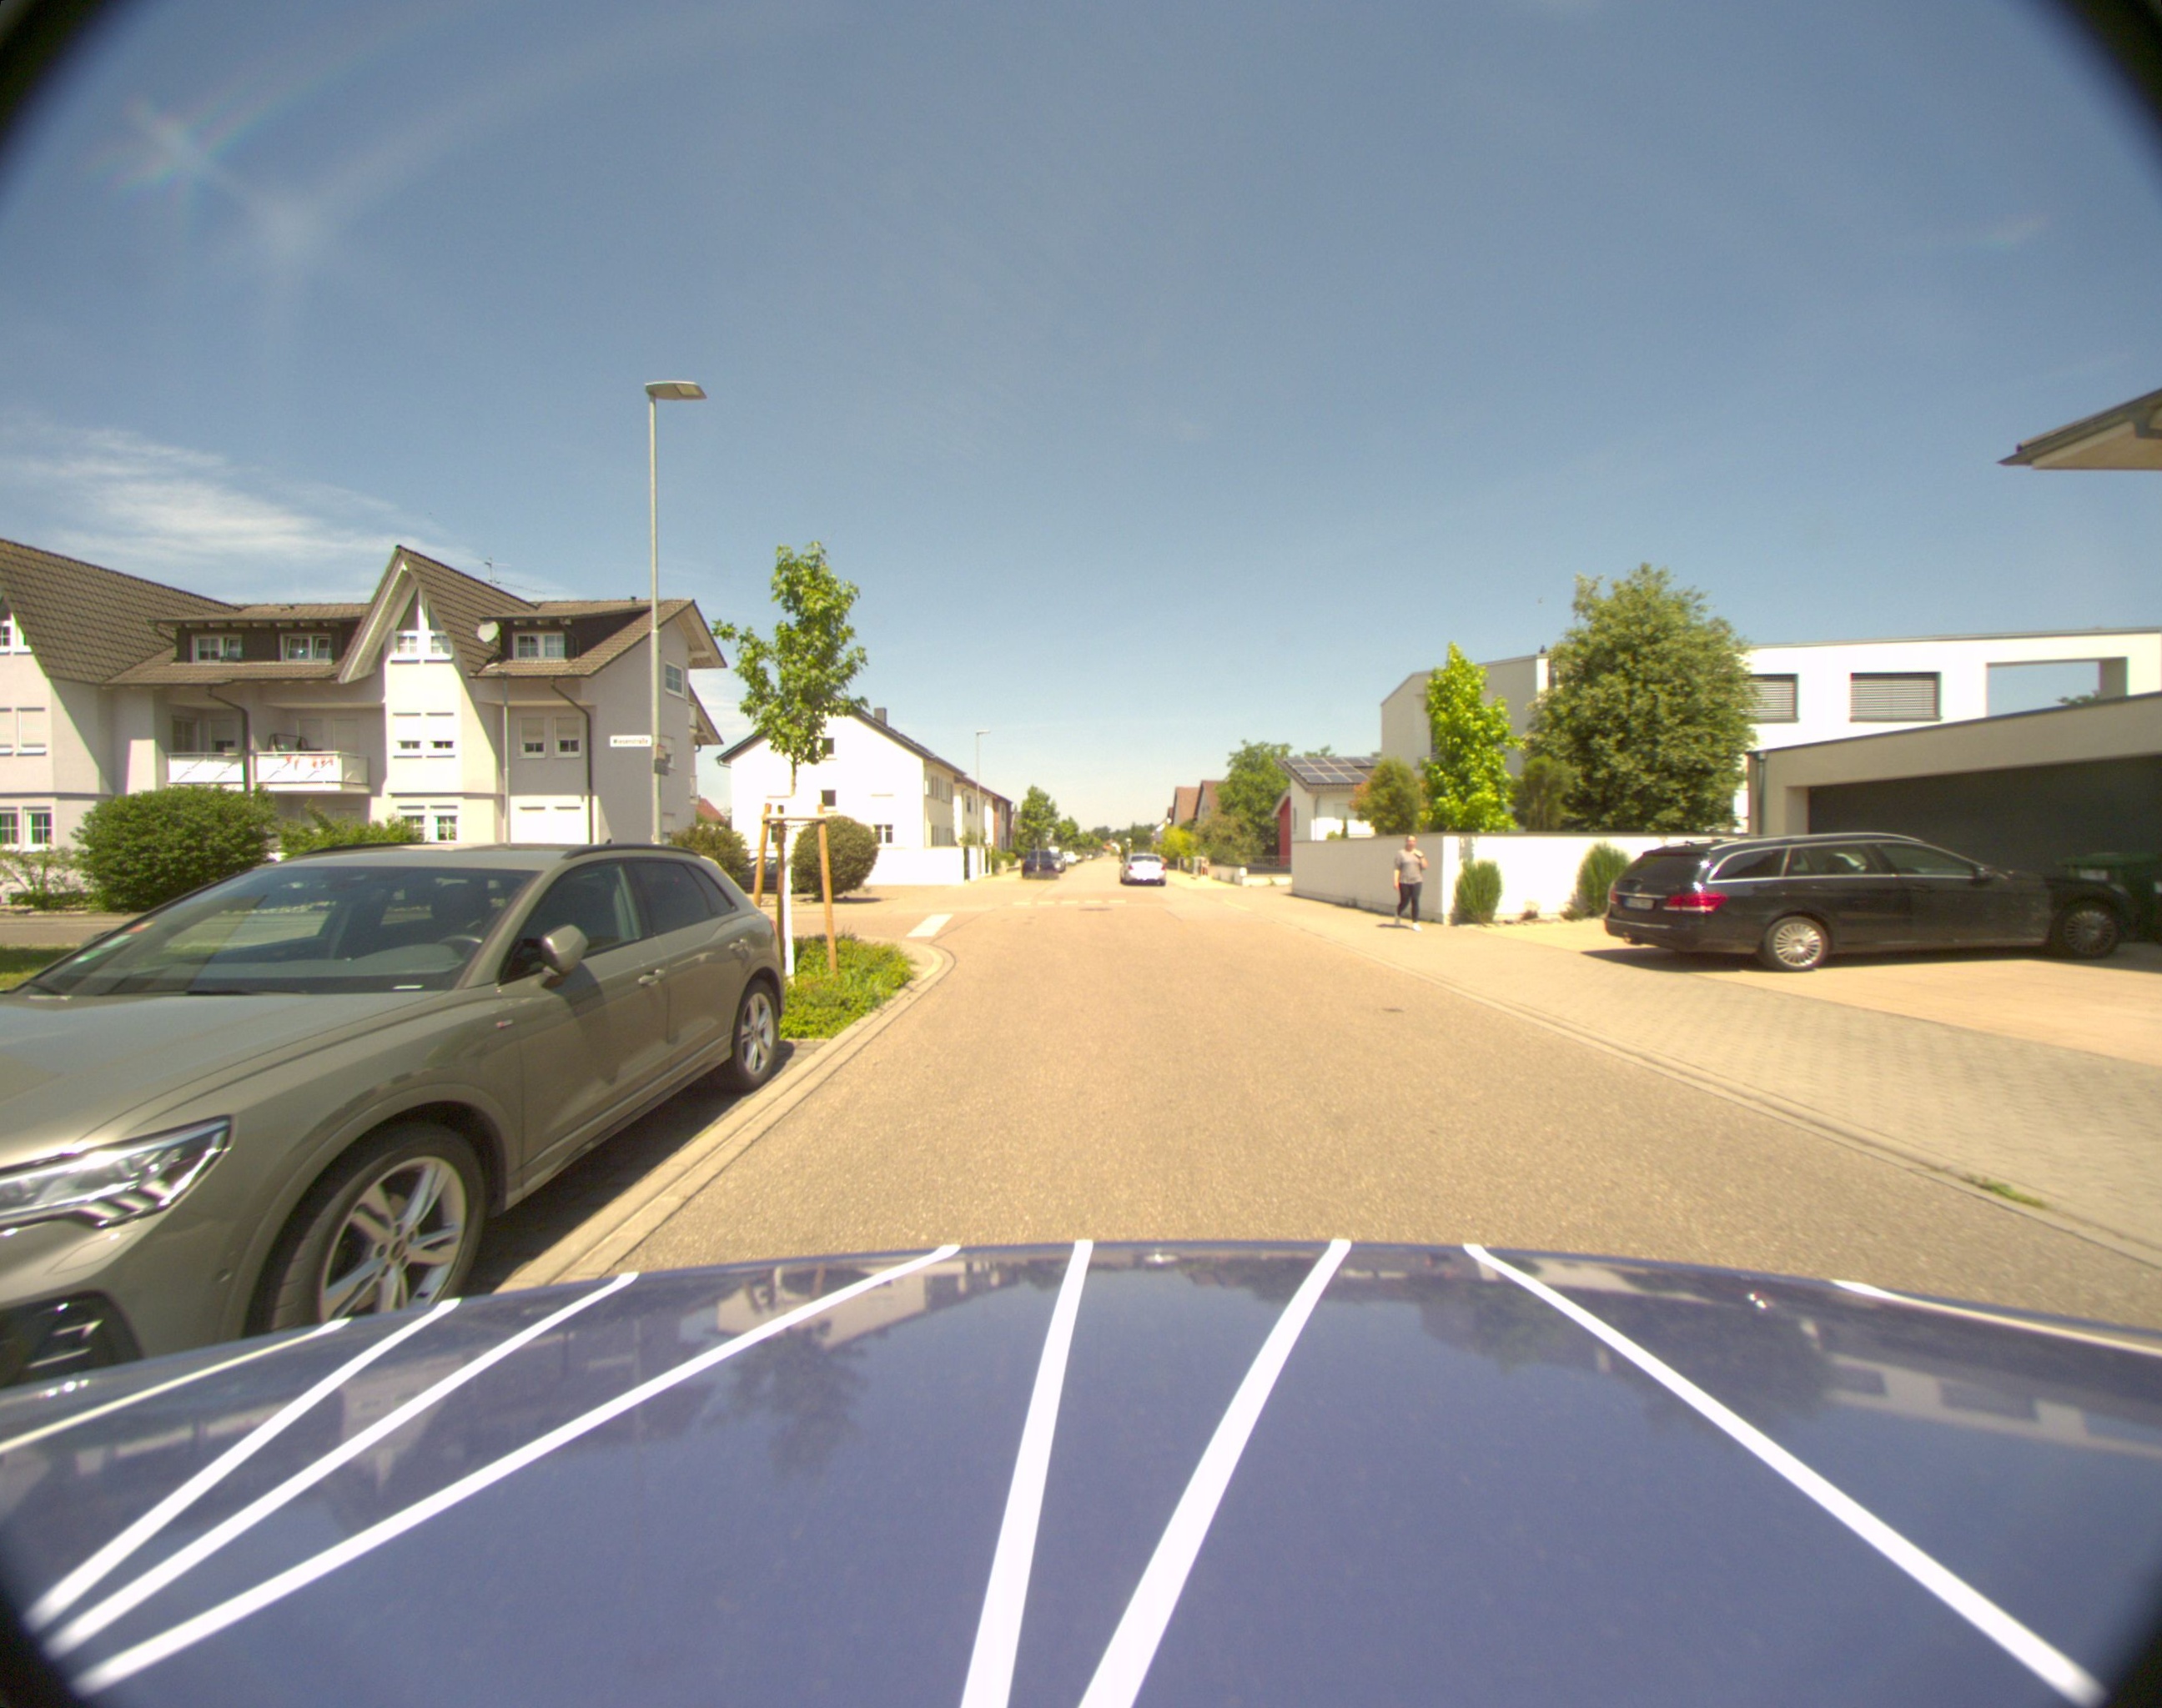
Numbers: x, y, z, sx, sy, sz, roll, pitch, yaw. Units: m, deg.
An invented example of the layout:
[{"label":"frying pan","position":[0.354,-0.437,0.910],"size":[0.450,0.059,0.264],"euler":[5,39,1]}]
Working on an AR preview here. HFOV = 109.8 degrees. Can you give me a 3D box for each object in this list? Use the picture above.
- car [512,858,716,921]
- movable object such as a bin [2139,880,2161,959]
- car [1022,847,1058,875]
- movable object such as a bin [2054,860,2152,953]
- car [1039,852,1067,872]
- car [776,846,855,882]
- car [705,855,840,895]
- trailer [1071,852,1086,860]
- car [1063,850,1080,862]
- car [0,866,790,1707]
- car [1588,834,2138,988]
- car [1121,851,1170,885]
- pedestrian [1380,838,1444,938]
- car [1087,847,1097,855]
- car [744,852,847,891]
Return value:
[{"label":"car","position":[-11.677,0.858,19.227],"size":[4.004,1.459,1.755],"euler":[0,1,-7]},{"label":"movable object such as a bin","position":[12.296,0.736,8.479],"size":[0.311,0.878,0.476],"euler":[-1,1,-6]},{"label":"car","position":[-2.479,0.419,46.991],"size":[1.818,1.646,4.565],"euler":[0,0,2]},{"label":"movable object such as a bin","position":[12.266,0.615,9.136],"size":[0.385,1.067,0.589],"euler":[-1,1,-6]},{"label":"car","position":[-2.058,0.554,56.534],"size":[1.818,1.412,4.093],"euler":[0,0,2]},{"label":"car","position":[-13.475,0.501,38.734],"size":[3.394,1.802,1.771],"euler":[0,1,0]},{"label":"car","position":[-11.181,0.753,27.742],"size":[4.213,1.366,1.664],"euler":[0,1,-2]},{"label":"trailer","position":[-0.339,0.223,104.050],"size":[1.792,1.052,2.899],"euler":[0,0,3]},{"label":"car","position":[-1.080,0.198,88.887],"size":[1.819,1.412,3.868],"euler":[0,0,1]},{"label":"car","position":[-2.924,0.900,3.249],"size":[1.778,1.586,4.278],"euler":[0,1,-1]},{"label":"car","position":[8.949,0.620,9.071],"size":[4.438,1.465,1.851],"euler":[-3,0,4]},{"label":"car","position":[2.975,0.604,36.064],"size":[1.857,1.470,4.699],"euler":[1,0,0]},{"label":"pedestrian","position":[5.977,0.598,13.770],"size":[0.716,1.737,0.961],"euler":[-2,1,1]},{"label":"car","position":[2.308,-0.578,158.714],"size":[1.597,1.630,3.804],"euler":[0,1,5]},{"label":"car","position":[-11.283,0.673,30.145],"size":[3.454,1.486,1.664],"euler":[0,1,-2]}]
